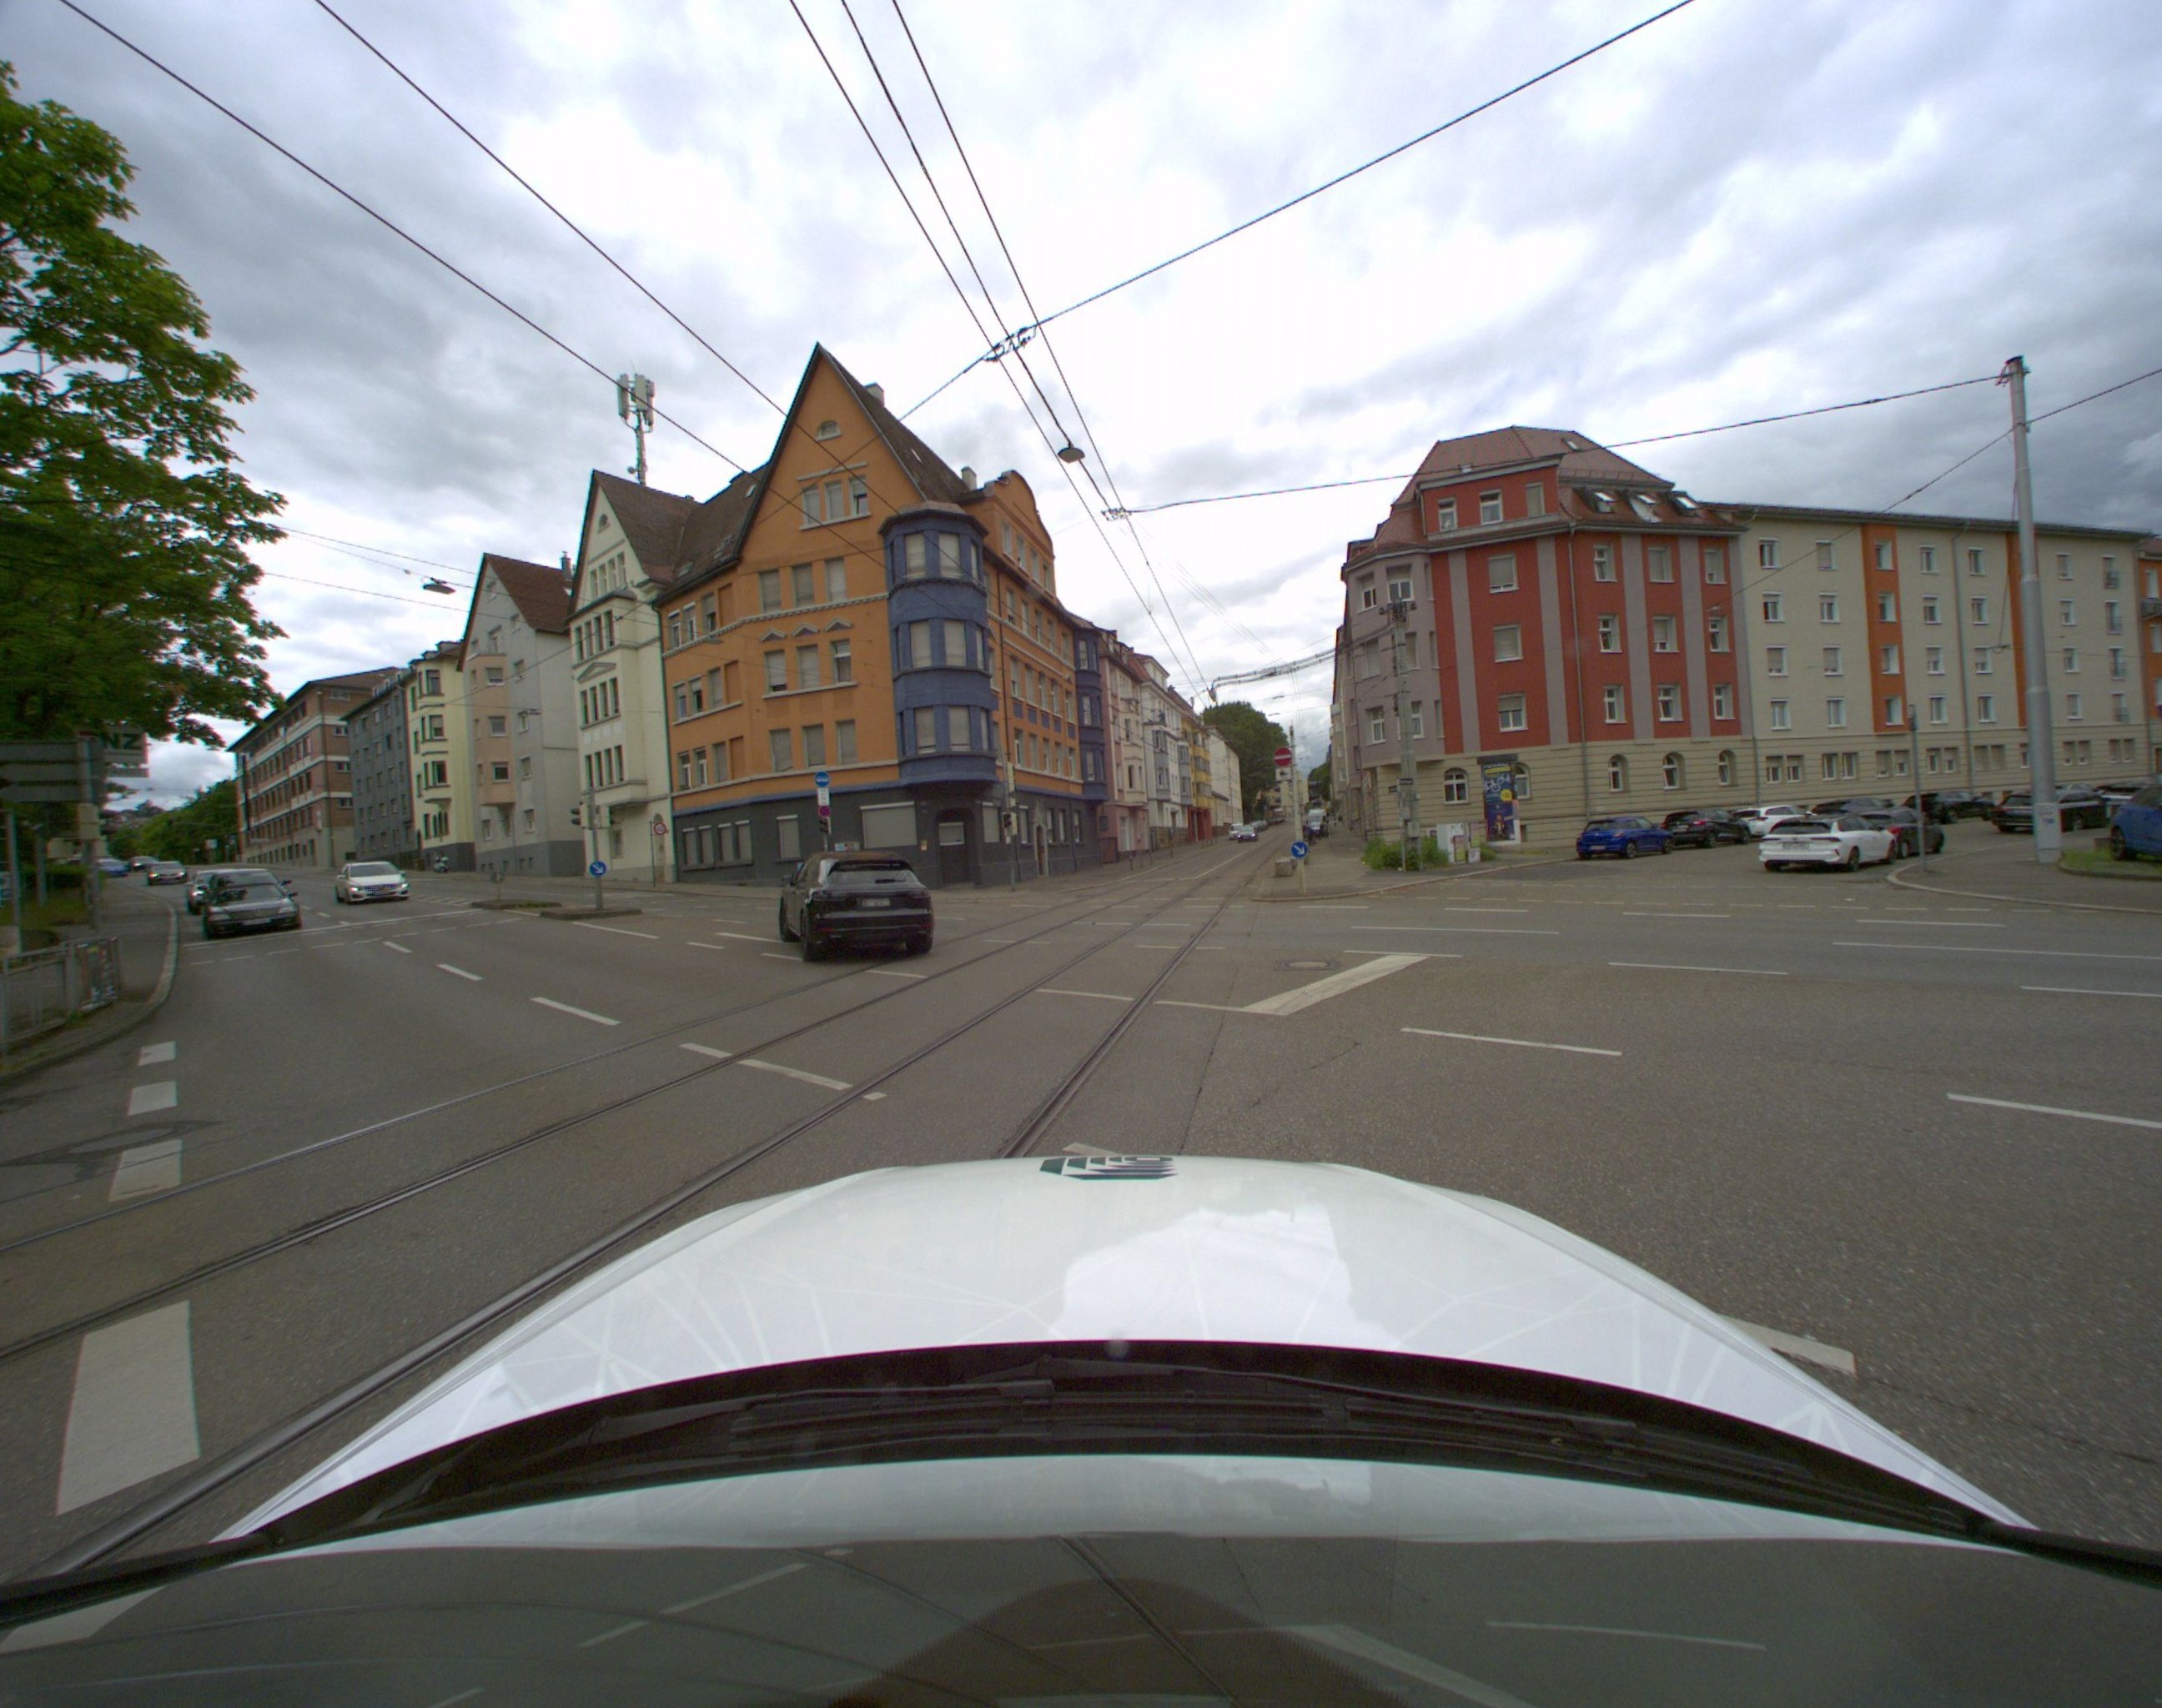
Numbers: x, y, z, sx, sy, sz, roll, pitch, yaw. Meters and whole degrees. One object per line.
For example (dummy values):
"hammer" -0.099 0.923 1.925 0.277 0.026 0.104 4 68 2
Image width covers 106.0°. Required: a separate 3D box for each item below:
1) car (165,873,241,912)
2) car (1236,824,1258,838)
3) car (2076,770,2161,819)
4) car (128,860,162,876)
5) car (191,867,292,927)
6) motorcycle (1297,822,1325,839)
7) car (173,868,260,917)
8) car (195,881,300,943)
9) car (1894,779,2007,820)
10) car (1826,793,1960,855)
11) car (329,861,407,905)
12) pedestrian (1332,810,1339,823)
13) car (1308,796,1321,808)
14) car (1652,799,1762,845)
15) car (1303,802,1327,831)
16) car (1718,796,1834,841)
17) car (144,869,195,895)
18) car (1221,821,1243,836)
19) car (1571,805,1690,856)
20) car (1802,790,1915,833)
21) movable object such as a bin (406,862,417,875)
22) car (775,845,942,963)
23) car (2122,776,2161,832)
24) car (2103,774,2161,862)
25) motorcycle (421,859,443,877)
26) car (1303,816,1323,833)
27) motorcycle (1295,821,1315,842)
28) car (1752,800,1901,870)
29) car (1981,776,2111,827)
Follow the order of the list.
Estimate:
"car" -38.969 1.669 36.125 4.021 1.411 1.858 -1 5 38
"car" 16.116 -2.249 78.818 1.673 1.326 3.679 -2 1 17
"car" 39.886 -2.274 30.593 4.142 1.645 1.906 -4 3 -20
"car" -94.261 1.379 81.989 4.255 1.447 1.857 -1 4 38
"car" -28.472 1.375 27.584 4.357 1.641 1.971 0 5 40
"motorcycle" 19.026 -1.969 67.353 2.165 1.326 0.701 -2 1 6
"car" -34.184 1.451 32.161 4.440 1.593 1.971 0 5 40
"car" -23.531 1.560 22.957 4.182 1.281 1.819 0 5 42
"car" 40.158 -2.506 37.636 4.136 1.632 1.909 -4 3 -16
"car" 24.353 -0.914 24.404 4.155 1.534 1.900 -5 3 -31
"car" -28.472 1.110 32.478 4.270 1.546 1.793 0 2 42
"pedestrian" 33.446 -4.940 106.941 0.673 1.632 0.678 -3 -2 39
"car" 46.912 -10.502 163.604 2.249 2.183 4.791 -2 1 17
"car" 24.821 -1.262 32.265 4.152 1.534 1.901 -5 3 -28
"car" 24.597 -3.932 85.332 2.249 2.890 4.791 -2 1 17
"car" 29.444 -1.506 34.518 4.140 1.632 1.907 -4 3 -19
"car" -60.456 1.827 53.997 4.255 1.447 1.857 -1 4 38
"car" 17.332 -2.919 93.404 1.978 1.692 4.019 -2 1 17
"car" 19.897 -0.878 29.468 4.153 1.534 1.900 -5 3 -29
"car" 34.554 -1.887 36.204 4.140 1.632 1.907 -4 3 -19
"movable object such as a bin" -51.053 1.110 62.109 0.510 0.891 0.479 -1 5 37
"car" -3.951 0.708 13.915 2.034 1.641 4.320 -1 0 -25
"car" 32.058 -1.448 22.295 1.797 1.534 4.086 -5 3 -24
"car" 21.378 -0.719 15.289 1.806 1.577 4.288 0 4 39
"motorcycle" -45.943 0.988 57.655 2.197 1.155 0.543 -1 5 35
"car" 22.735 -2.848 79.748 1.826 1.568 3.837 -2 1 17
"motorcycle" 15.715 -1.558 57.208 0.855 1.326 2.189 -9 0 7
"car" 19.878 -0.549 21.677 4.157 1.534 1.899 -5 3 -32
"car" 34.208 -1.847 28.869 4.147 1.534 1.904 -5 3 -24
